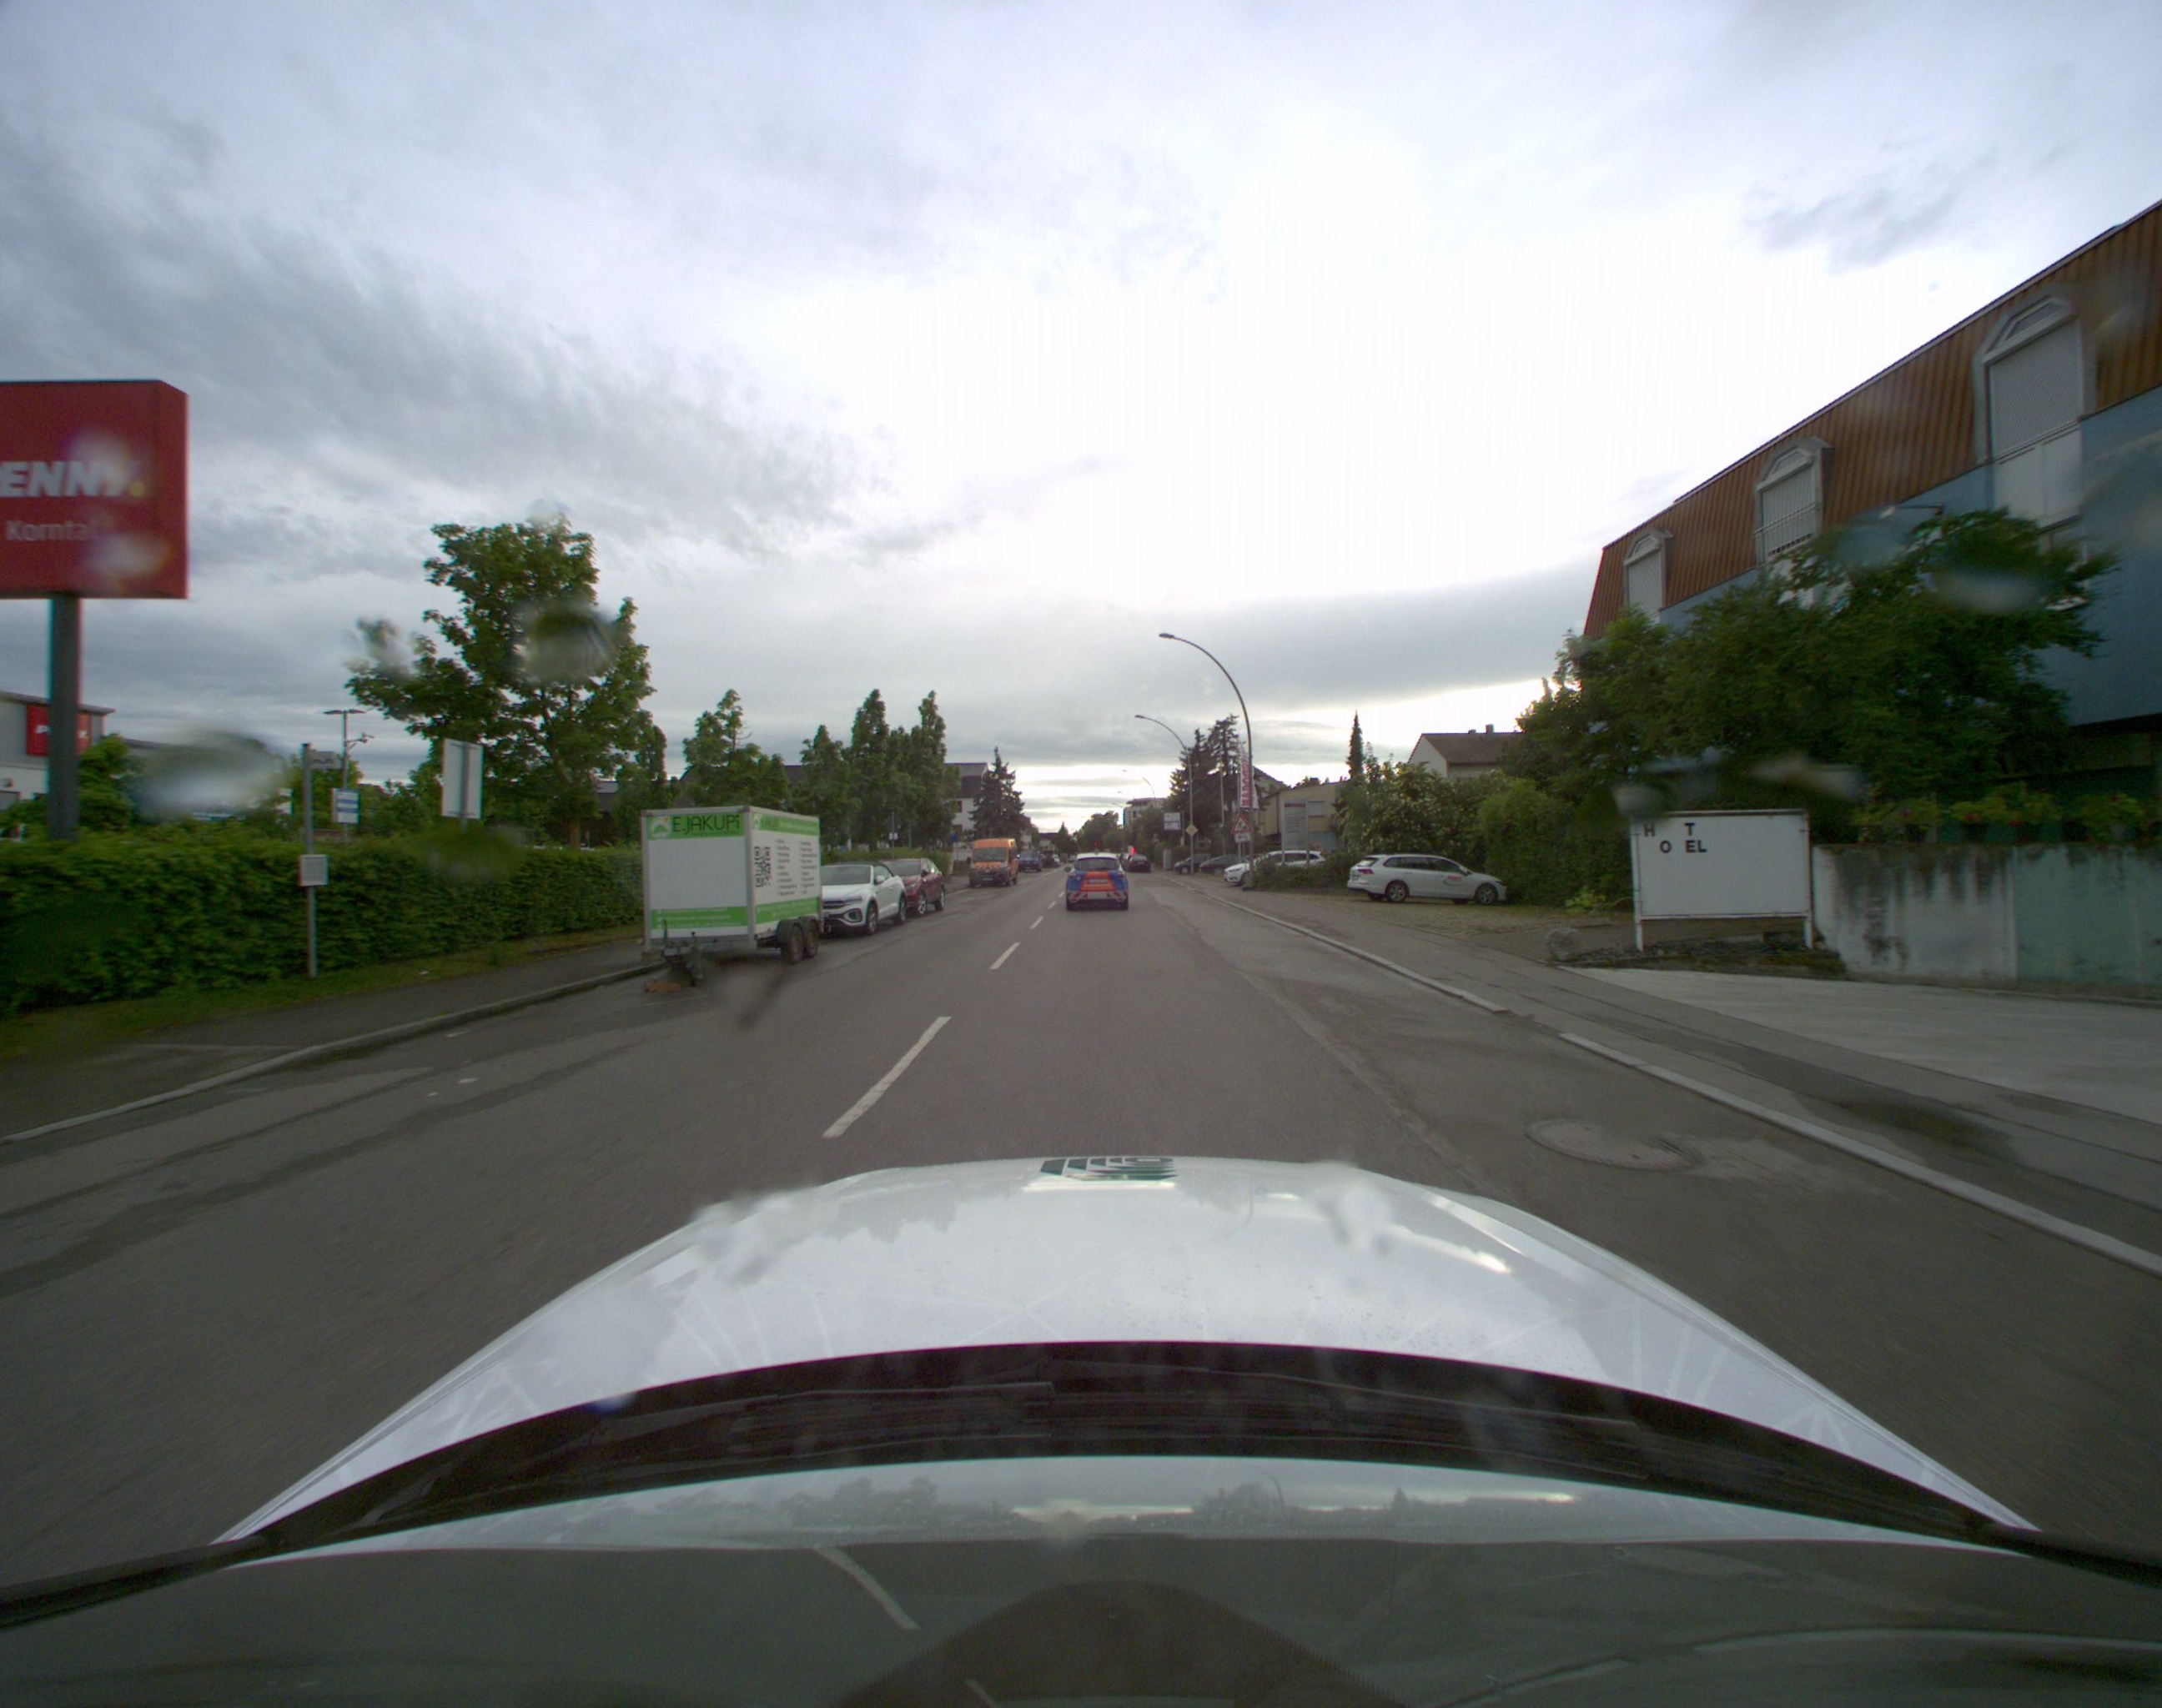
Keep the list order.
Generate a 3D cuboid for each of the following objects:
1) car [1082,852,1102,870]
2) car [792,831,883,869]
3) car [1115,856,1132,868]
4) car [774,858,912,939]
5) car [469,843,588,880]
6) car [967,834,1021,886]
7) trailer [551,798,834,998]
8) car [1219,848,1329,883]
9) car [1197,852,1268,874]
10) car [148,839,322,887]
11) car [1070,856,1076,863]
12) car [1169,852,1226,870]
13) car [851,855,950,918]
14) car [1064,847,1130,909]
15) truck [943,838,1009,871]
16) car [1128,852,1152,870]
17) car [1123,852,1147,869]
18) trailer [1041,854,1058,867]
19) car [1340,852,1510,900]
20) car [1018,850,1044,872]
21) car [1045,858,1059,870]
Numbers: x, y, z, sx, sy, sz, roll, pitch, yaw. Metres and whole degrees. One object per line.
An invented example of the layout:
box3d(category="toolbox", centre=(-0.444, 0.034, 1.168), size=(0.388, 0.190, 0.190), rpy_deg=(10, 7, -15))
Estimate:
box3d(category="car", centre=(0.934, 0.602, 70.800), size=(1.645, 1.522, 3.998), rpy_deg=(0, -1, -1))
box3d(category="car", centre=(-13.289, -0.202, 44.670), size=(4.291, 2.014, 2.063), rpy_deg=(0, -1, 1))
box3d(category="car", centre=(5.057, 0.963, 97.353), size=(1.706, 1.438, 4.524), rpy_deg=(0, -1, -1))
box3d(category="car", centre=(-5.089, 0.874, 17.998), size=(1.766, 1.498, 4.137), rpy_deg=(-1, 1, 0))
box3d(category="car", centre=(-23.778, 0.322, 35.144), size=(3.882, 1.520, 1.692), rpy_deg=(0, -1, -4))
box3d(category="car", centre=(-4.538, 0.292, 43.427), size=(2.117, 2.537, 6.022), rpy_deg=(-2, 0, 1))
box3d(category="trailer", centre=(-5.406, 0.525, 12.188), size=(1.807, 2.314, 4.730), rpy_deg=(-3, 0, 0))
box3d(category="car", centre=(8.294, 0.487, 35.278), size=(4.324, 1.475, 1.902), rpy_deg=(0, -1, 0))
box3d(category="car", centre=(8.974, 0.518, 48.458), size=(3.971, 1.266, 1.952), rpy_deg=(0, -1, 2))
box3d(category="car", centre=(-29.644, 0.318, 28.653), size=(3.982, 1.606, 1.768), rpy_deg=(0, -1, -7))
box3d(category="car", centre=(-1.790, 1.174, 178.675), size=(1.382, 1.483, 3.782), rpy_deg=(-1, 0, -1))
box3d(category="car", centre=(8.560, 0.542, 60.141), size=(3.975, 1.266, 1.950), rpy_deg=(0, -1, -1))
box3d(category="car", centre=(-5.044, 0.852, 23.368), size=(1.799, 1.573, 4.343), rpy_deg=(-1, 0, 1))
box3d(category="car", centre=(0.430, 0.651, 23.374), size=(1.726, 1.631, 3.494), rpy_deg=(-1, -1, 0))
box3d(category="truck", centre=(-9.959, 0.020, 77.914), size=(5.890, 3.073, 2.450), rpy_deg=(0, -1, 1))
box3d(category="car", centre=(4.724, 0.557, 65.548), size=(1.585, 1.341, 4.091), rpy_deg=(1, 0, -1))
box3d(category="car", centre=(4.641, 0.546, 70.587), size=(1.652, 1.419, 4.774), rpy_deg=(0, -1, -1))
box3d(category="trailer", centre=(-3.538, 0.743, 92.641), size=(1.712, 1.260, 5.243), rpy_deg=(0, 2, -1))
box3d(category="car", centre=(10.340, 0.655, 24.706), size=(4.401, 1.393, 1.880), rpy_deg=(0, -1, 0))
box3d(category="car", centre=(-4.585, 0.677, 74.910), size=(1.987, 1.947, 5.365), rpy_deg=(-1, -1, 1))
box3d(category="car", centre=(-3.528, 1.203, 100.120), size=(1.552, 1.433, 4.001), rpy_deg=(0, -1, 1))
